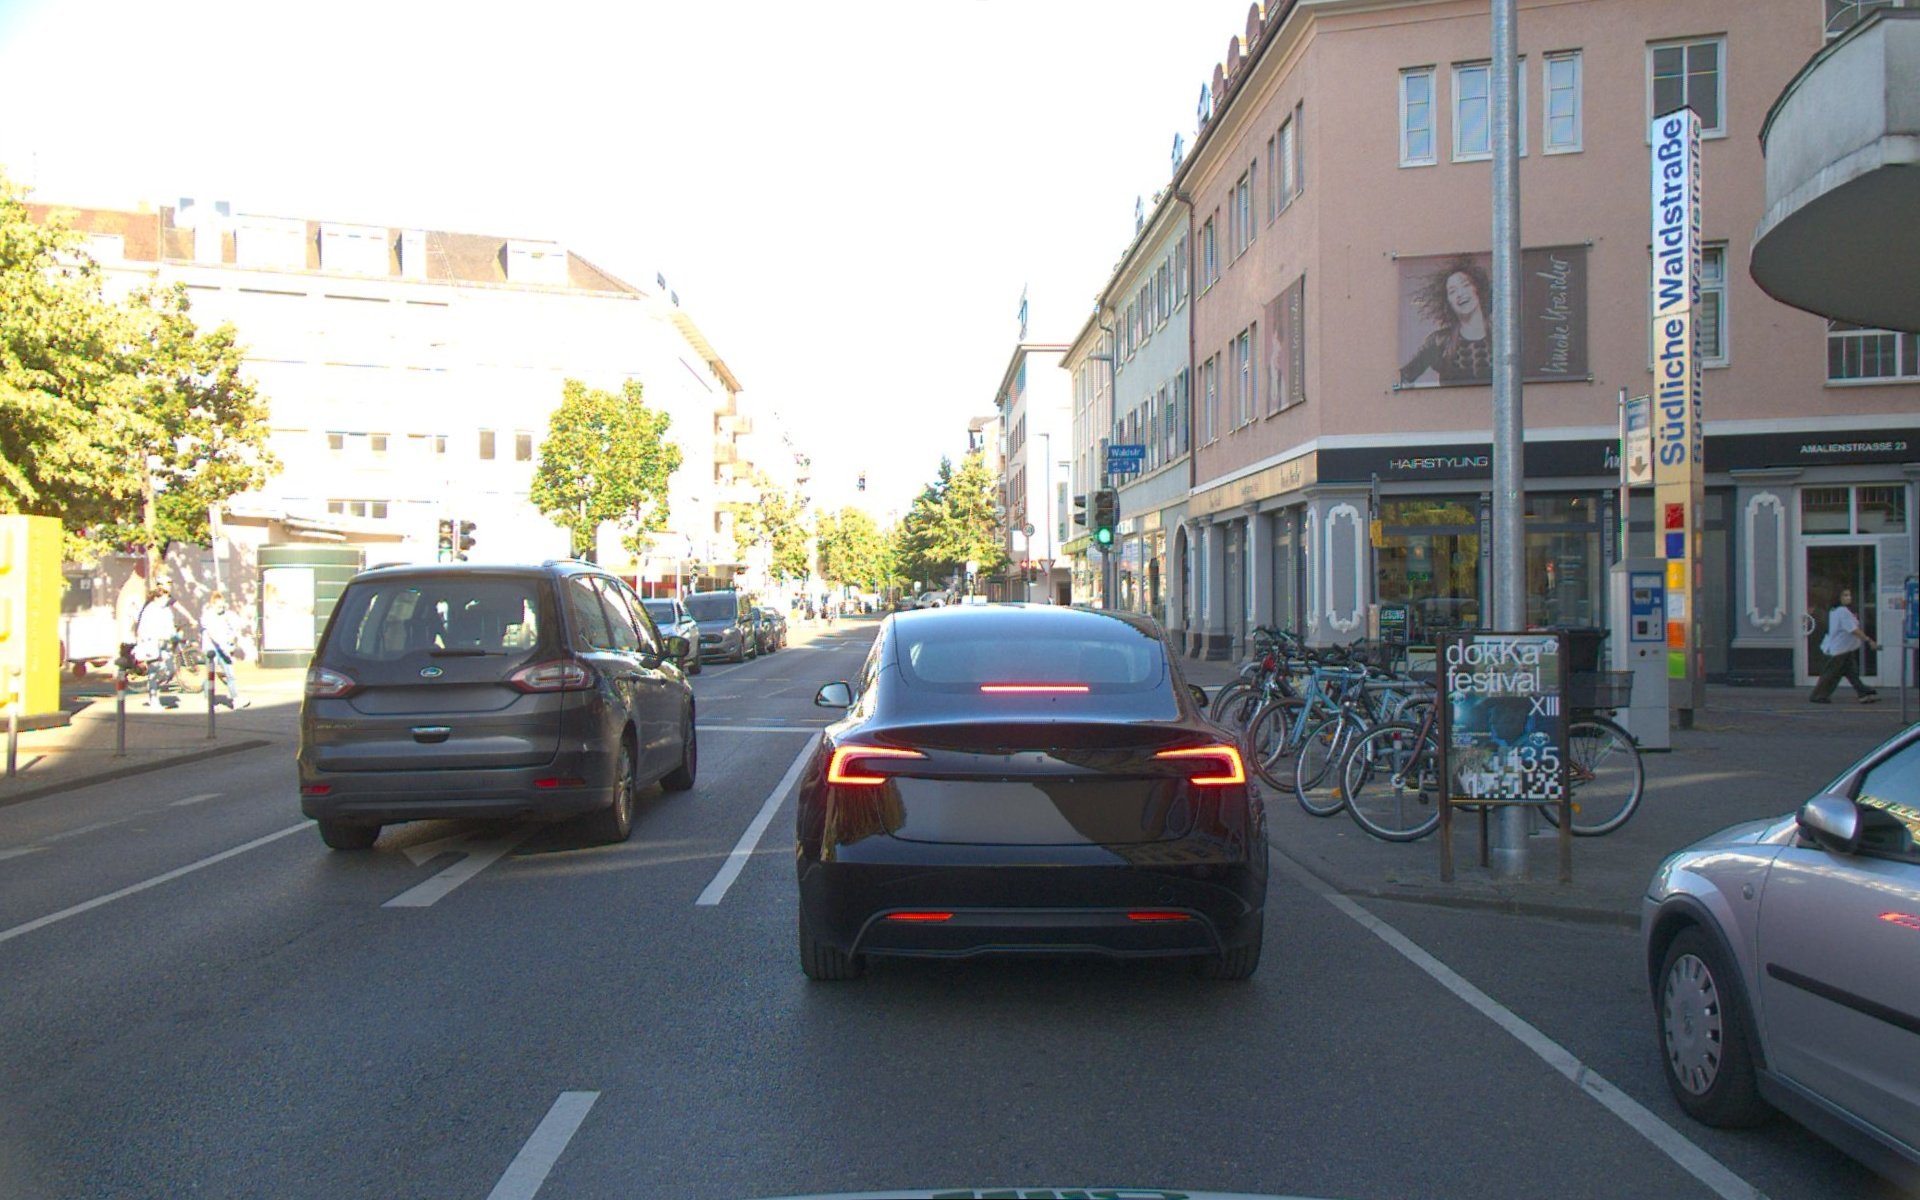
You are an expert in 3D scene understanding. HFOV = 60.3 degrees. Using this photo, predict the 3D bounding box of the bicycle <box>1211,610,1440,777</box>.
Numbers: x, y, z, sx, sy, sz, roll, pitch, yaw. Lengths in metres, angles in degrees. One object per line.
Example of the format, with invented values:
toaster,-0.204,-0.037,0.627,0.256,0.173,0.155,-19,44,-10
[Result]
bicycle,2.990,0.753,13.660,1.709,1.289,0.781,-2,0,2

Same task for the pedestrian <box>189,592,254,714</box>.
pedestrian,-10.488,0.739,23.495,0.672,1.692,0.618,0,0,39

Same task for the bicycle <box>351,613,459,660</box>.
bicycle,-14.187,0.927,42.330,2.455,1.176,0.842,0,0,-2

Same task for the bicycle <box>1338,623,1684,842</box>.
bicycle,3.287,0.785,10.002,1.846,1.214,0.692,-2,1,5

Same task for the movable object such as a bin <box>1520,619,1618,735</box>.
movable object such as a bin,6.046,0.750,16.439,0.737,1.111,0.627,1,0,1

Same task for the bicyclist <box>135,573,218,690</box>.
bicyclist,-12.838,0.498,27.104,0.930,1.870,0.788,1,0,22

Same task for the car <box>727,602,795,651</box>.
car,-6.801,0.878,56.885,1.954,1.461,4.671,-4,0,-3

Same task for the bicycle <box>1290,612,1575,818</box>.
bicycle,3.141,0.751,11.132,1.686,1.290,0.791,-2,0,5

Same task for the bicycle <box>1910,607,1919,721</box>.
bicycle,10.316,0.682,16.848,0.645,1.220,2.212,0,0,18

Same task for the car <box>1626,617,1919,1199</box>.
car,2.945,0.779,3.492,1.580,1.406,3.642,1,0,0

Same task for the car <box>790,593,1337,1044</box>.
car,0.316,0.725,7.472,1.810,1.480,3.999,0,0,-1

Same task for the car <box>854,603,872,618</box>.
car,-10.975,1.230,186.868,1.954,1.666,3.997,0,0,-4

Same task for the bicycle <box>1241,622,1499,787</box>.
bicycle,3.058,0.773,12.482,1.760,1.144,0.782,-2,0,5

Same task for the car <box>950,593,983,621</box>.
car,0.388,0.433,100.773,1.953,1.657,3.999,0,0,-1

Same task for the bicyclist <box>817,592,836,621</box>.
bicyclist,-7.709,0.381,95.470,1.104,1.657,0.964,0,0,-4

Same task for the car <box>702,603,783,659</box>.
car,-6.419,0.889,49.299,1.954,1.434,4.671,-4,0,-3

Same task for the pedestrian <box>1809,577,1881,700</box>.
pedestrian,11.574,0.489,21.647,0.731,1.579,0.699,0,0,20

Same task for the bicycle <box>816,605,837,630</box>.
bicycle,-7.693,1.008,95.376,1.089,1.368,3.997,0,0,-4

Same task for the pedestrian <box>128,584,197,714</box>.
pedestrian,-10.997,0.667,22.811,0.537,1.758,0.673,0,0,32

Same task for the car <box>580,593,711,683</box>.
car,-6.253,0.701,33.363,1.770,1.582,4.309,-4,0,-1

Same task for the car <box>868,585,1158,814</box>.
car,0.287,0.669,13.247,1.953,1.538,4.173,0,0,-2

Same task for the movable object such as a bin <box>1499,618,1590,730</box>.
movable object such as a bin,6.025,0.753,17.077,0.718,1.111,0.627,1,0,1

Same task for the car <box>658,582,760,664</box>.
car,-6.365,0.542,42.444,1.797,1.877,4.674,-4,0,0

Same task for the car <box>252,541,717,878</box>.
car,-2.931,0.584,11.364,1.953,1.803,4.726,-1,0,-2

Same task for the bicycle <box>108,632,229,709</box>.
bicycle,-12.989,1.136,27.139,2.018,1.159,0.538,2,0,21

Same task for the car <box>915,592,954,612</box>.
car,-2.562,0.175,167.491,3.907,2.049,1.999,0,0,-2

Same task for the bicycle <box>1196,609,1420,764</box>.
bicycle,3.054,0.750,14.692,1.822,1.280,0.833,-2,0,5
